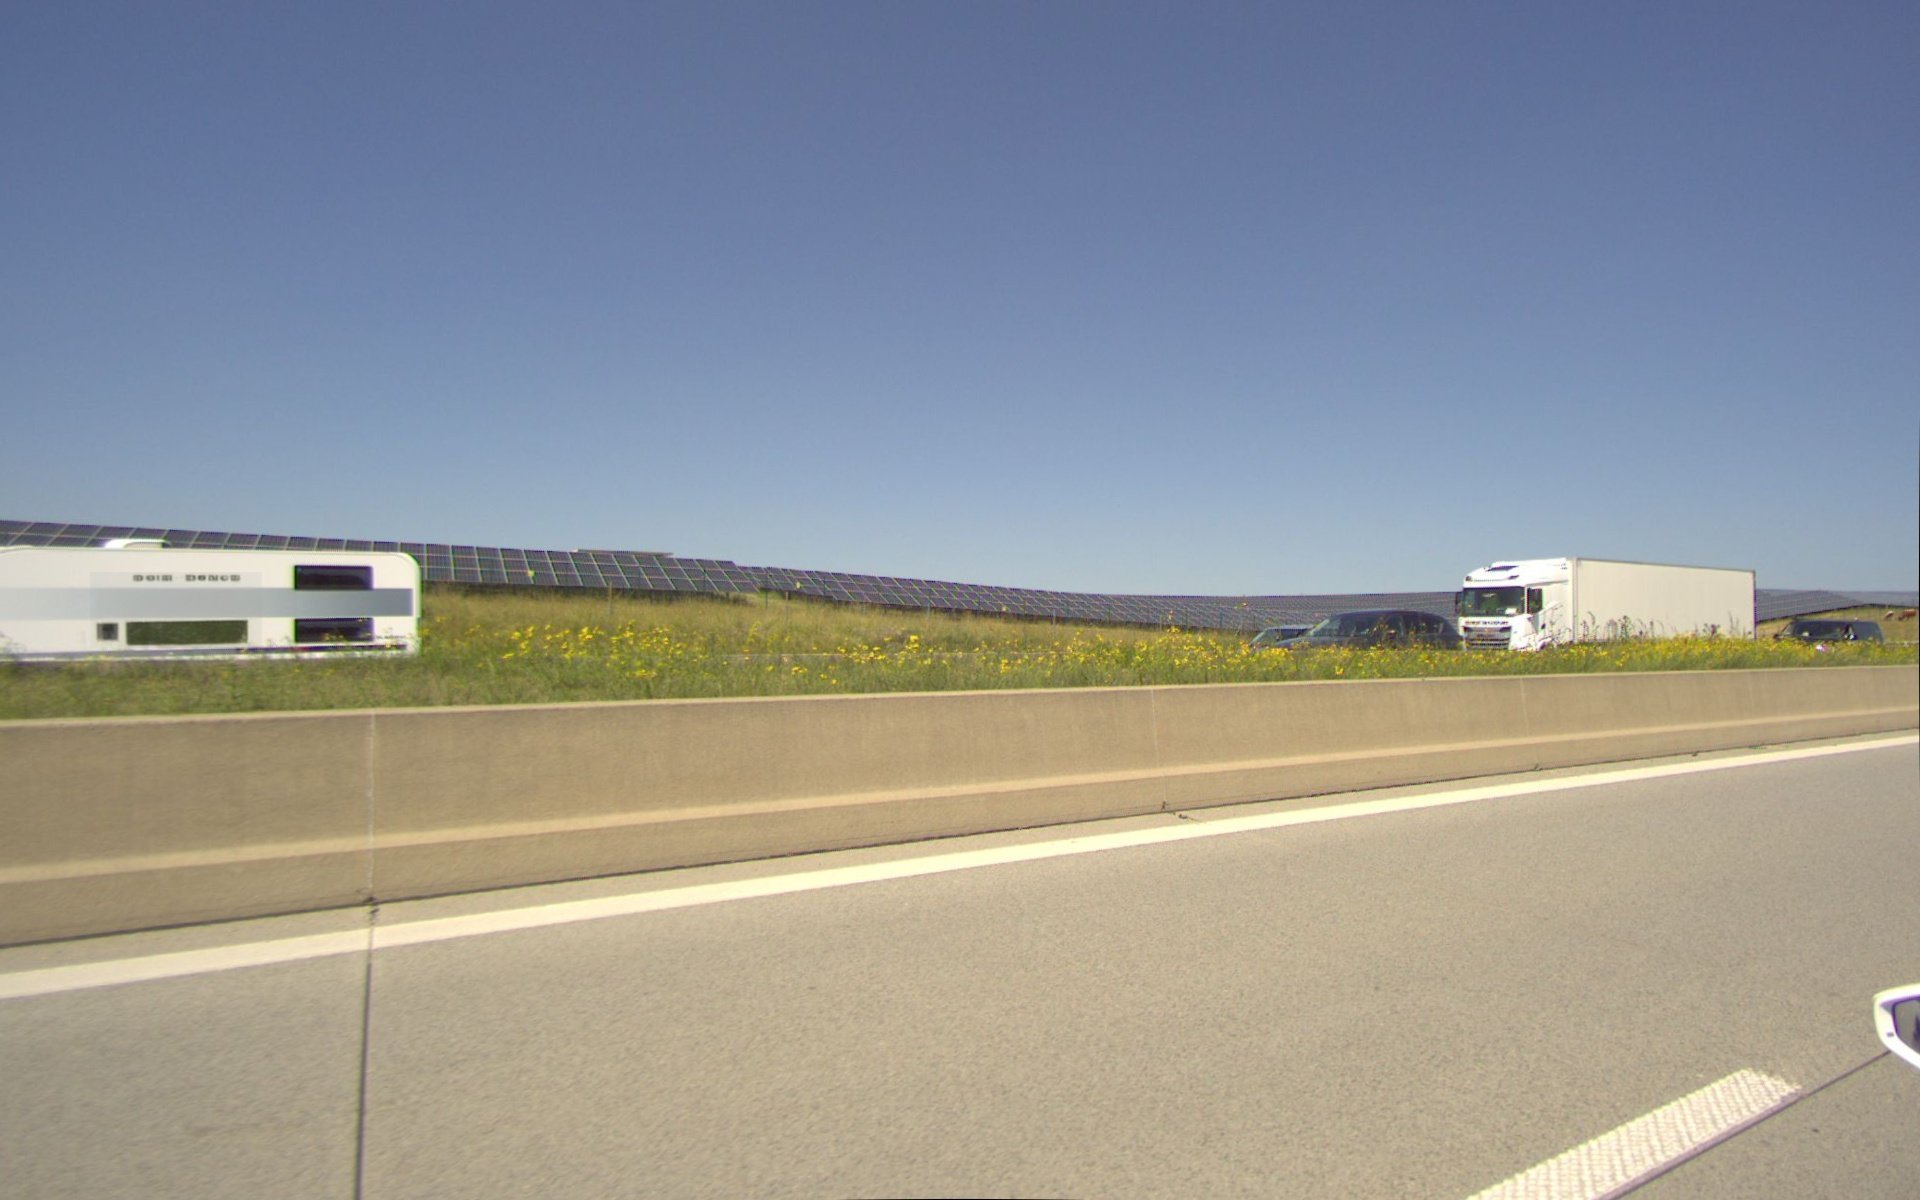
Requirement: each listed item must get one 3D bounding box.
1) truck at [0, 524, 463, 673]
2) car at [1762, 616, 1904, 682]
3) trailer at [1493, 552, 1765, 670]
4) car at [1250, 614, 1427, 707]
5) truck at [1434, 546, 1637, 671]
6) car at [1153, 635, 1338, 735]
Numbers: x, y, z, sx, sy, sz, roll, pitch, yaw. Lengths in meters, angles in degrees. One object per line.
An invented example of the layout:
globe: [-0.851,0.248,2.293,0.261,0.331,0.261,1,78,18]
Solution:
truck: [-12.082,0.017,15.735,7.541,2.040,2.504,2,0,-31]
car: [29.243,1.603,33.609,4.972,1.997,2.061,1,1,-31]
trailer: [26.622,0.566,39.506,13.976,4.058,3.075,2,0,-31]
car: [7.052,1.080,18.648,3.215,1.552,1.317,1,1,-31]
truck: [20.658,0.362,35.966,7.170,4.058,3.075,2,0,-31]
car: [6.379,1.832,22.400,3.895,1.969,1.735,2,0,-30]
